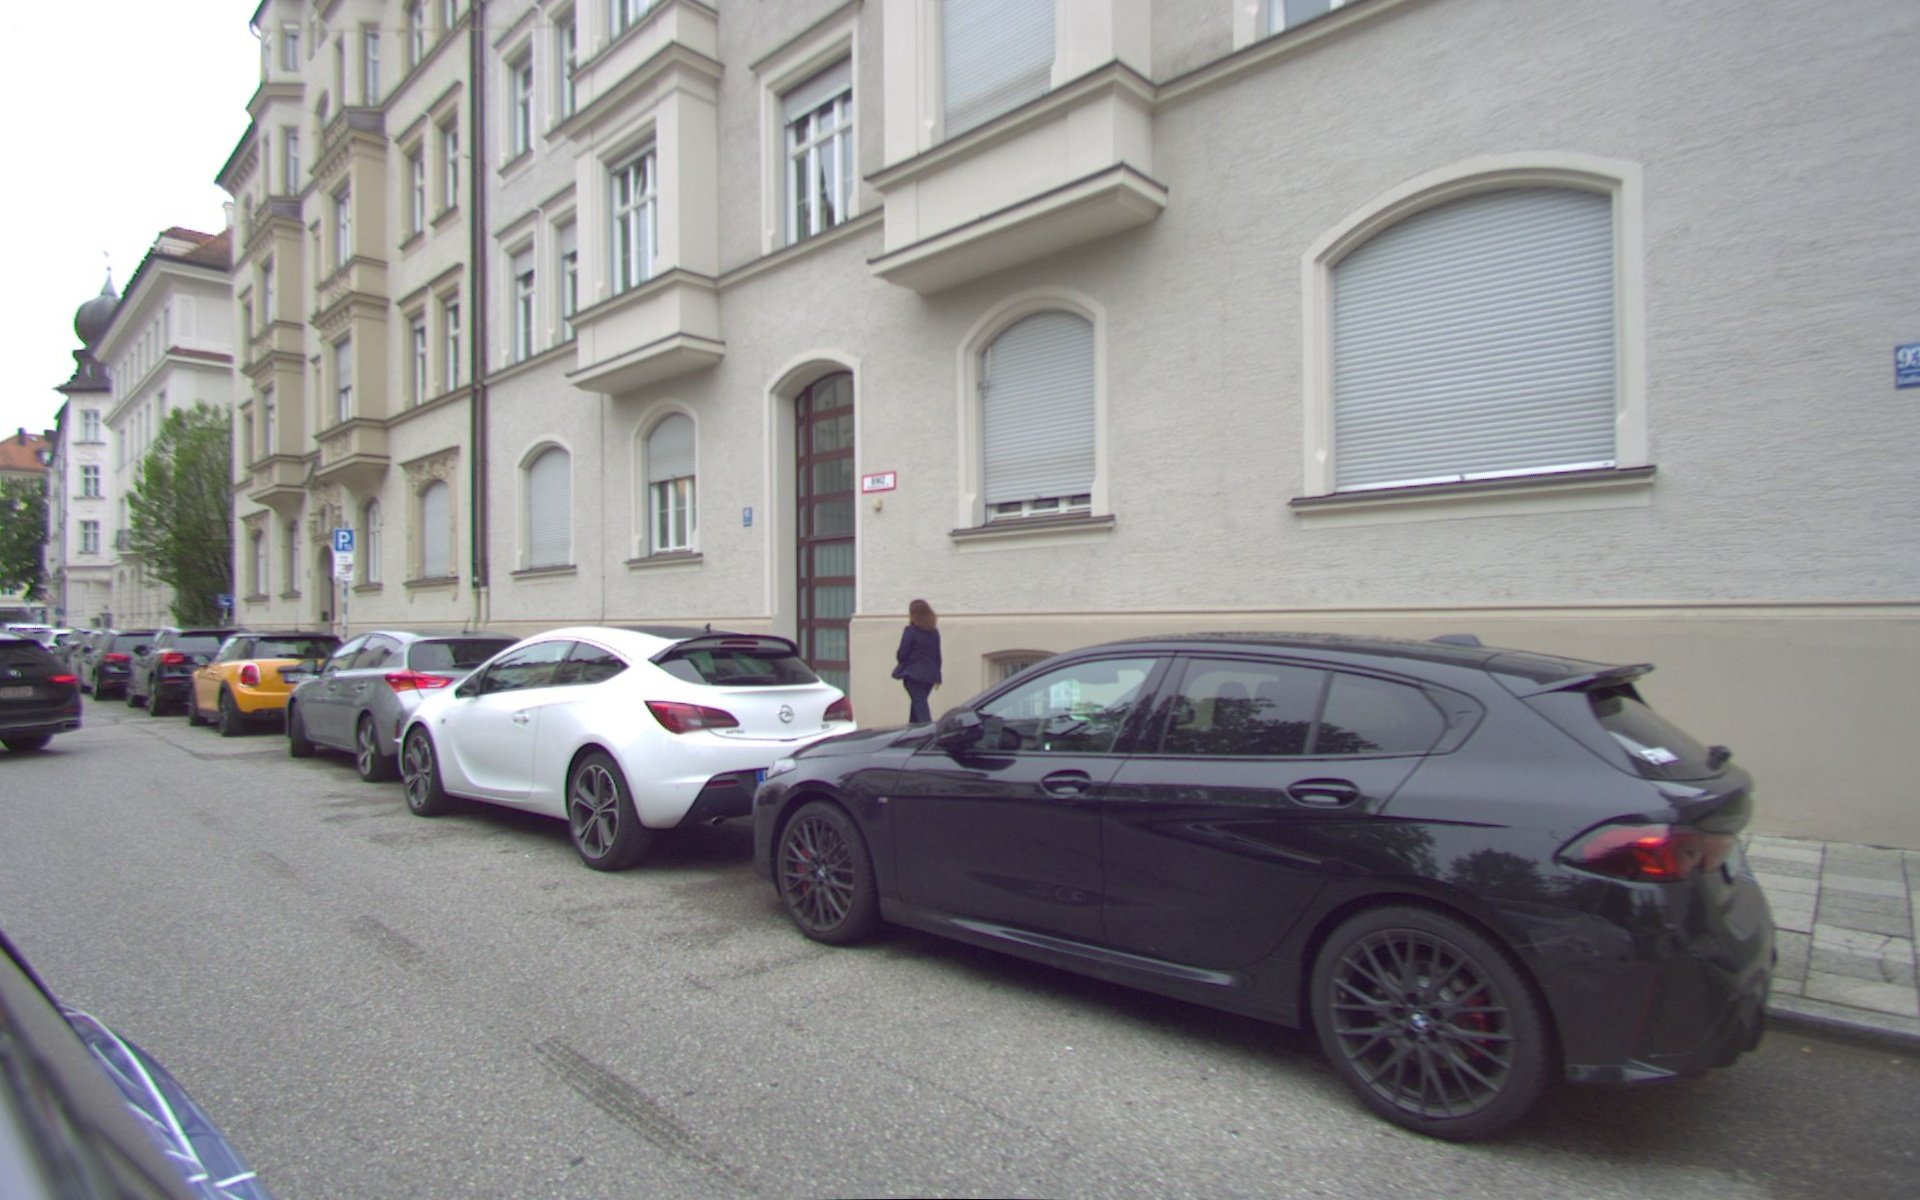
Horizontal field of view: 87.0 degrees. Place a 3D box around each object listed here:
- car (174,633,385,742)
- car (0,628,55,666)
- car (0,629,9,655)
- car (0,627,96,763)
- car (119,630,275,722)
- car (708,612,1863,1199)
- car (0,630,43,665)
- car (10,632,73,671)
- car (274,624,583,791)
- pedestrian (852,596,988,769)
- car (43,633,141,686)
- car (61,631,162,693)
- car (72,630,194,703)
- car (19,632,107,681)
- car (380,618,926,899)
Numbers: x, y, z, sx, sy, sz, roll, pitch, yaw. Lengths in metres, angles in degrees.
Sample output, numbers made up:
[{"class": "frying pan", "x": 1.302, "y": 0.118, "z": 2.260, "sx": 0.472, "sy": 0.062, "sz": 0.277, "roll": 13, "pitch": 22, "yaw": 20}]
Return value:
[{"class": "car", "x": -10.040, "y": 1.178, "z": 14.832, "sx": 3.730, "sy": 1.373, "sz": 1.785, "roll": -2, "pitch": -3, "yaw": 44}, {"class": "car", "x": -39.482, "y": 1.947, "z": 42.669, "sx": 3.689, "sy": 1.542, "sz": 1.605, "roll": -2, "pitch": -3, "yaw": 43}, {"class": "car", "x": -58.697, "y": 2.523, "z": 61.091, "sx": 3.920, "sy": 1.542, "sz": 1.605, "roll": -2, "pitch": -3, "yaw": 43}, {"class": "car", "x": -12.280, "y": 1.039, "z": 11.240, "sx": 4.536, "sy": 1.424, "sz": 1.785, "roll": -1, "pitch": -1, "yaw": 14}, {"class": "car", "x": -13.712, "y": 1.278, "z": 18.113, "sx": 3.942, "sy": 1.467, "sz": 1.605, "roll": -2, "pitch": -3, "yaw": 44}, {"class": "car", "x": 0.962, "y": 0.820, "z": 4.413, "sx": 4.377, "sy": 1.423, "sz": 1.836, "roll": -2, "pitch": -3, "yaw": 41}, {"class": "car", "x": -43.401, "y": 2.142, "z": 46.442, "sx": 3.920, "sy": 1.542, "sz": 1.605, "roll": -2, "pitch": -3, "yaw": 43}, {"class": "car", "x": -35.883, "y": 1.972, "z": 39.512, "sx": 3.691, "sy": 1.440, "sz": 1.604, "roll": -2, "pitch": -3, "yaw": 45}, {"class": "car", "x": -5.853, "y": 1.013, "z": 10.948, "sx": 3.938, "sy": 1.475, "sz": 1.785, "roll": -2, "pitch": -3, "yaw": 44}, {"class": "pedestrian", "x": -0.407, "y": 0.789, "z": 10.192, "sx": 1.052, "sy": 1.620, "sz": 0.864, "roll": -2, "pitch": -1, "yaw": 42}, {"class": "car", "x": -24.997, "y": 1.668, "z": 29.102, "sx": 3.687, "sy": 1.440, "sz": 1.606, "roll": -2, "pitch": -3, "yaw": 41}, {"class": "car", "x": -21.346, "y": 1.506, "z": 25.419, "sx": 3.590, "sy": 1.440, "sz": 1.604, "roll": -2, "pitch": -3, "yaw": 45}, {"class": "car", "x": -17.933, "y": 1.367, "z": 21.875, "sx": 3.943, "sy": 1.440, "sz": 1.604, "roll": -2, "pitch": -3, "yaw": 45}, {"class": "car", "x": -28.444, "y": 1.748, "z": 32.052, "sx": 3.687, "sy": 1.440, "sz": 1.606, "roll": -2, "pitch": -3, "yaw": 41}, {"class": "car", "x": -2.467, "y": 0.904, "z": 7.484, "sx": 4.377, "sy": 1.475, "sz": 1.836, "roll": -2, "pitch": -3, "yaw": 41}]
